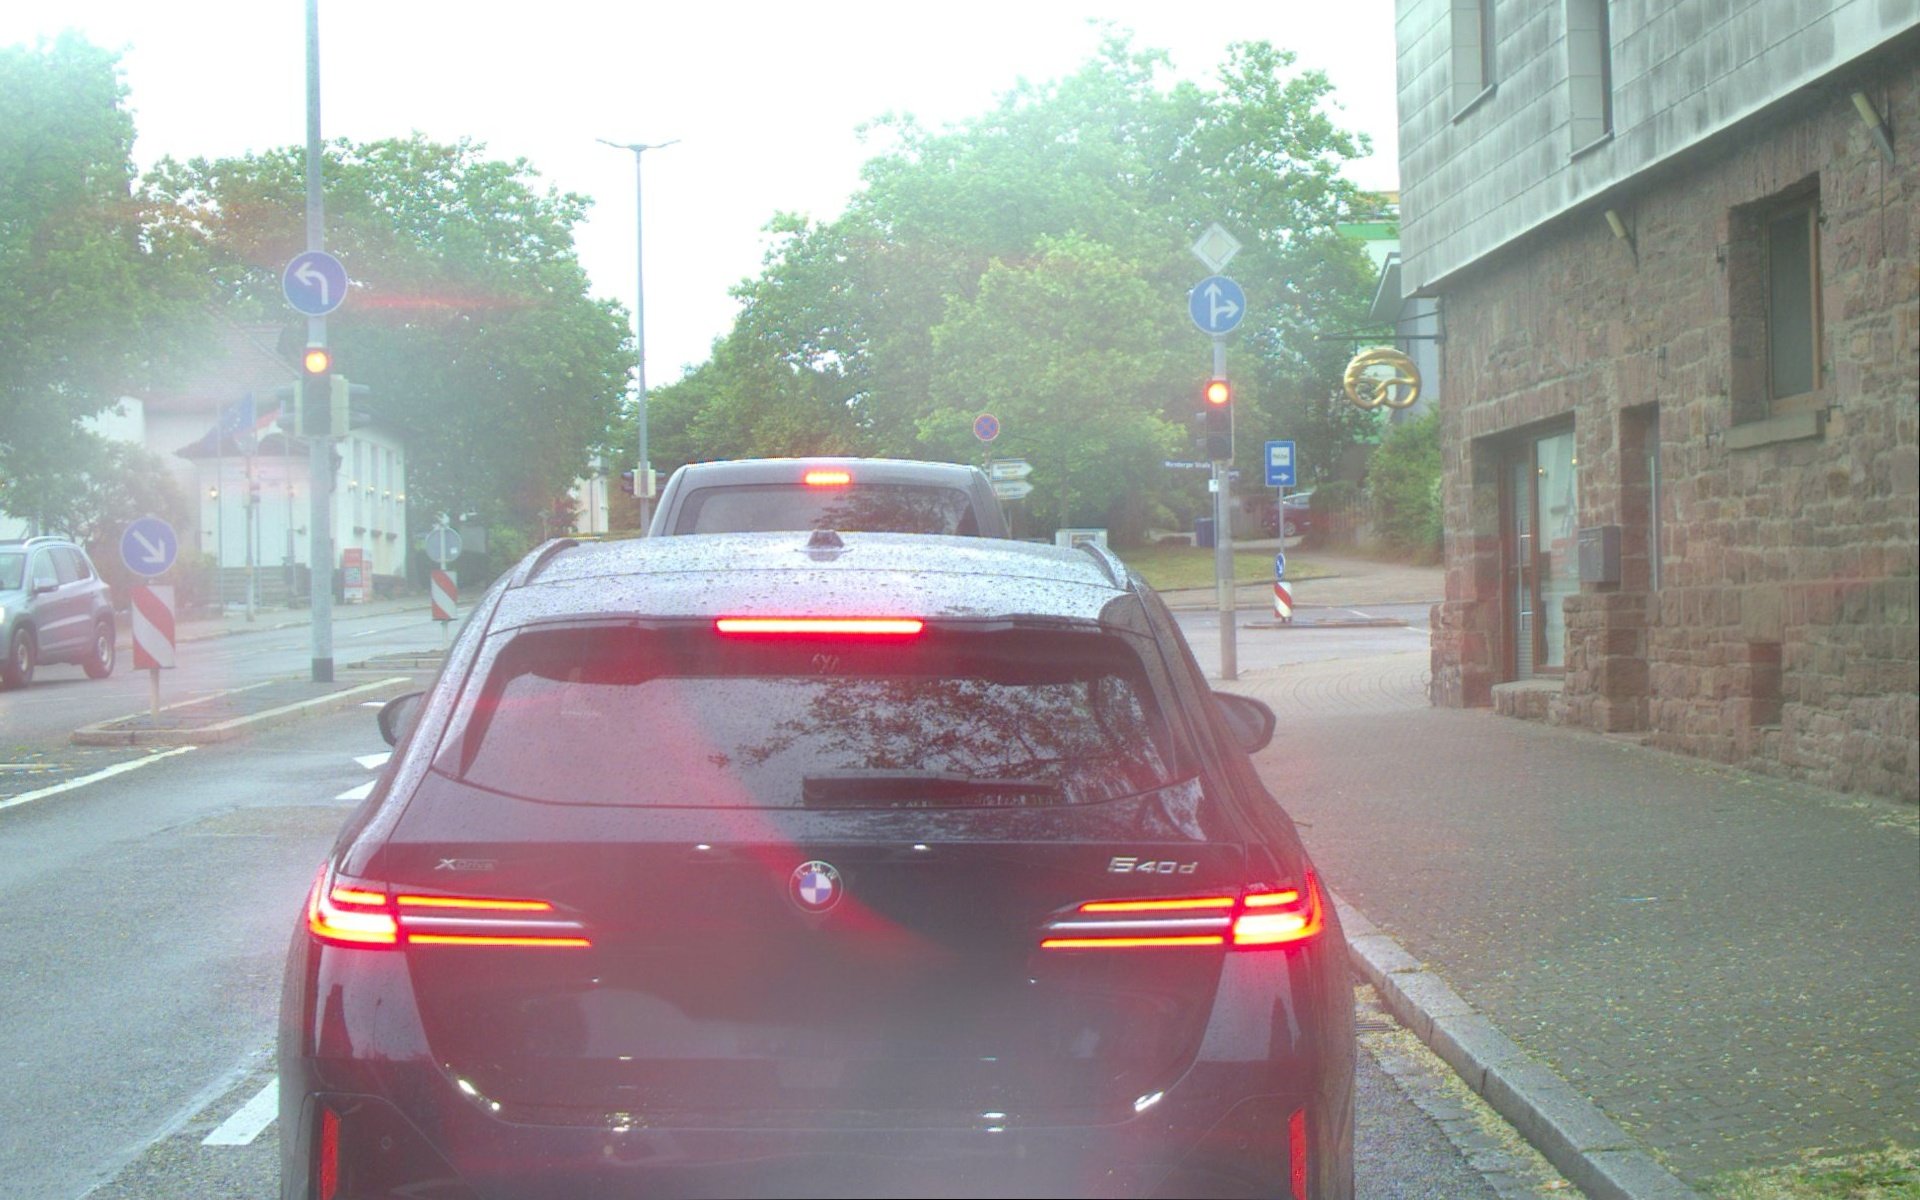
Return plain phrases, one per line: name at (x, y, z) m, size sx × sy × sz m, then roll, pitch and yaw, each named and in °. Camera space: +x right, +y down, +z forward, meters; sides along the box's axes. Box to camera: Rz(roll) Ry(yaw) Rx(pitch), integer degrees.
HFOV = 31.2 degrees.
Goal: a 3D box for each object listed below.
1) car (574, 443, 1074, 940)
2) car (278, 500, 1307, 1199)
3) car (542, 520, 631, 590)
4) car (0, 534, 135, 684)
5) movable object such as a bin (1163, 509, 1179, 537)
car at (-0.611, 0.322, 14.498) m, size 1.812 × 1.802 × 3.757 m, roll 1°, pitch 0°, yaw -4°
car at (-0.356, 0.608, 6.902) m, size 1.523 × 1.529 × 3.532 m, roll 1°, pitch 0°, yaw -4°
car at (-8.980, -1.115, 82.952) m, size 1.898 × 1.572 × 4.503 m, roll -1°, pitch 2°, yaw -4°
car at (-10.973, 0.083, 38.668) m, size 1.909 × 1.585 × 4.317 m, roll -2°, pitch 1°, yaw 6°
movable object such as a bin at (7.067, -2.581, 115.250) m, size 0.450 × 0.902 × 0.462 m, roll 1°, pitch 0°, yaw 15°
